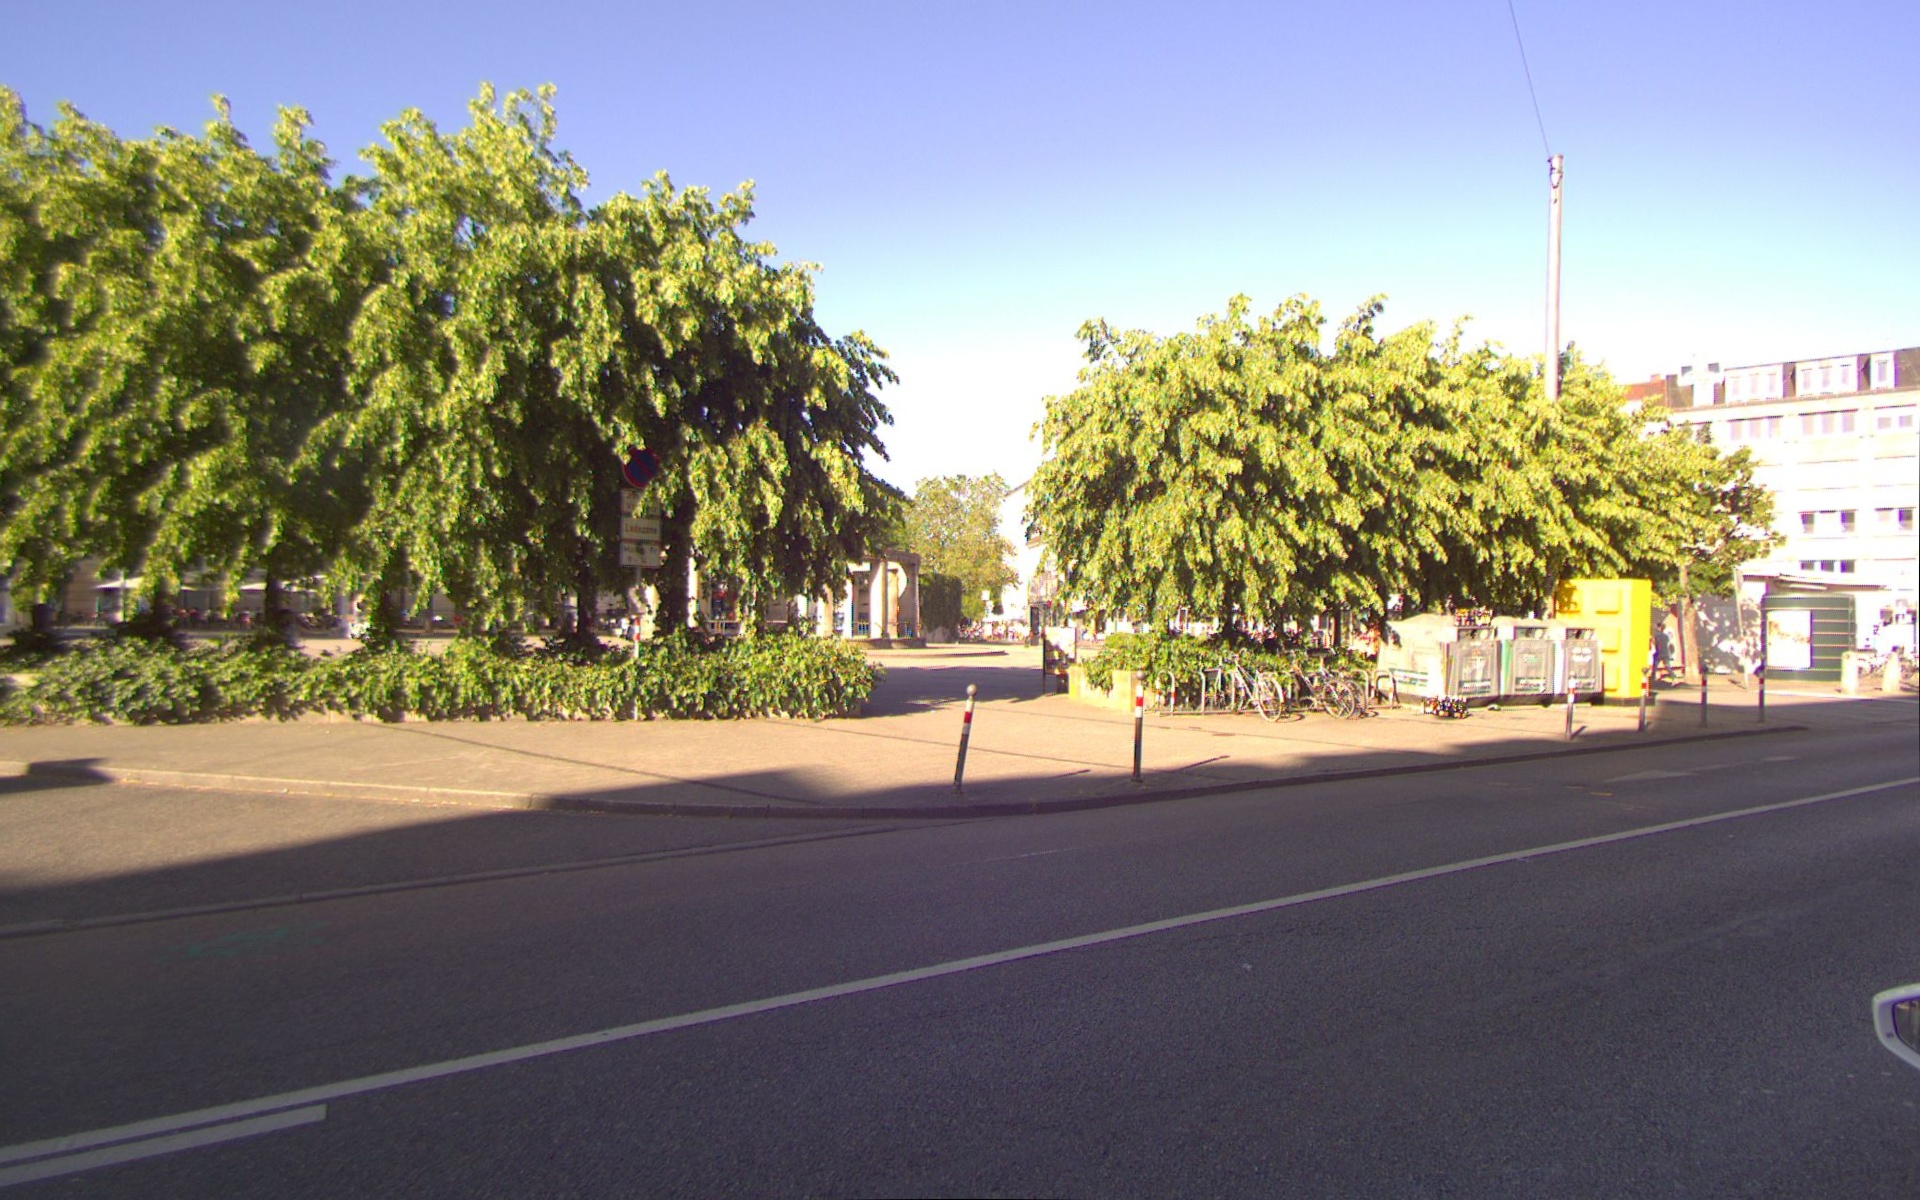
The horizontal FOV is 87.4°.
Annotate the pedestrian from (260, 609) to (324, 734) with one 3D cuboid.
[{"bbox_3d":[-10.364,1.088,15.604,0.722,1.881,0.578,2,0,-28],"label":"pedestrian"}]

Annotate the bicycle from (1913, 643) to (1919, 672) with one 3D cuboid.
[{"bbox_3d":[37.523,2.222,37.930,0.796,1.119,2.073,1,-1,-30],"label":"bicycle"}]

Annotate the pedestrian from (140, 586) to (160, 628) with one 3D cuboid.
[{"bbox_3d":[-35.654,0.294,44.197,0.597,1.816,0.575,2,0,-44],"label":"pedestrian"}]

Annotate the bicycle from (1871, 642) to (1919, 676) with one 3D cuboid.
[{"bbox_3d":[33.560,2.089,35.352,0.796,1.119,2.073,1,-1,-30],"label":"bicycle"}]

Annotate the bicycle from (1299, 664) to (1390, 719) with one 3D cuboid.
[{"bbox_3d":[6.348,1.490,16.648,0.468,0.779,1.468,2,0,-27],"label":"bicycle"}]

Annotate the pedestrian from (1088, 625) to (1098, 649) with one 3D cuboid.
[{"bbox_3d":[10.154,2.825,76.740,0.591,1.816,0.581,1,0,-12],"label":"pedestrian"}]

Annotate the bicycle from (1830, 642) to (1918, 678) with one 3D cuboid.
[{"bbox_3d":[31.254,2.042,34.379,0.796,1.119,2.073,1,-1,-30],"label":"bicycle"}]

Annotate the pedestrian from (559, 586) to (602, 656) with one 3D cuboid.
[{"bbox_3d":[-9.791,0.541,25.916,0.918,1.775,0.728,2,0,-15],"label":"pedestrian"}]

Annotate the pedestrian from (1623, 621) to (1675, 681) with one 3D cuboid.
[{"bbox_3d":[19.599,1.429,28.566,0.727,1.658,0.983,1,0,-26],"label":"pedestrian"}]

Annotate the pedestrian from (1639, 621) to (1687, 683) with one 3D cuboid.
[{"bbox_3d":[20.259,1.487,28.949,0.734,1.748,0.898,1,0,-26],"label":"pedestrian"}]

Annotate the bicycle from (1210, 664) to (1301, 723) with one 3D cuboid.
[{"bbox_3d":[4.609,1.443,15.797,0.467,0.779,1.653,2,0,-20],"label":"bicycle"}]

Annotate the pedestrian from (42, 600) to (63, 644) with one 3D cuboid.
[{"bbox_3d":[-37.530,0.916,41.544,0.597,1.816,0.576,2,0,-40],"label":"pedestrian"}]

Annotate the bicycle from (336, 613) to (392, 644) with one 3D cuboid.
[{"bbox_3d":[-21.580,1.030,36.366,2.018,1.030,0.504,1,0,16],"label":"bicycle"}]

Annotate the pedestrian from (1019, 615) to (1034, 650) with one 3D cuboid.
[{"bbox_3d":[4.006,1.963,60.720,0.670,2.040,0.579,2,0,-23],"label":"pedestrian"}]

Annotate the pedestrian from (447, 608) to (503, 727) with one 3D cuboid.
[{"bbox_3d":[-7.935,1.085,16.435,0.574,1.881,0.598,1,0,41],"label":"pedestrian"}]

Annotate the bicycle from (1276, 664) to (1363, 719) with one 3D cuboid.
[{"bbox_3d":[5.847,1.475,16.413,0.435,0.779,1.469,2,0,-25],"label":"bicycle"}]
